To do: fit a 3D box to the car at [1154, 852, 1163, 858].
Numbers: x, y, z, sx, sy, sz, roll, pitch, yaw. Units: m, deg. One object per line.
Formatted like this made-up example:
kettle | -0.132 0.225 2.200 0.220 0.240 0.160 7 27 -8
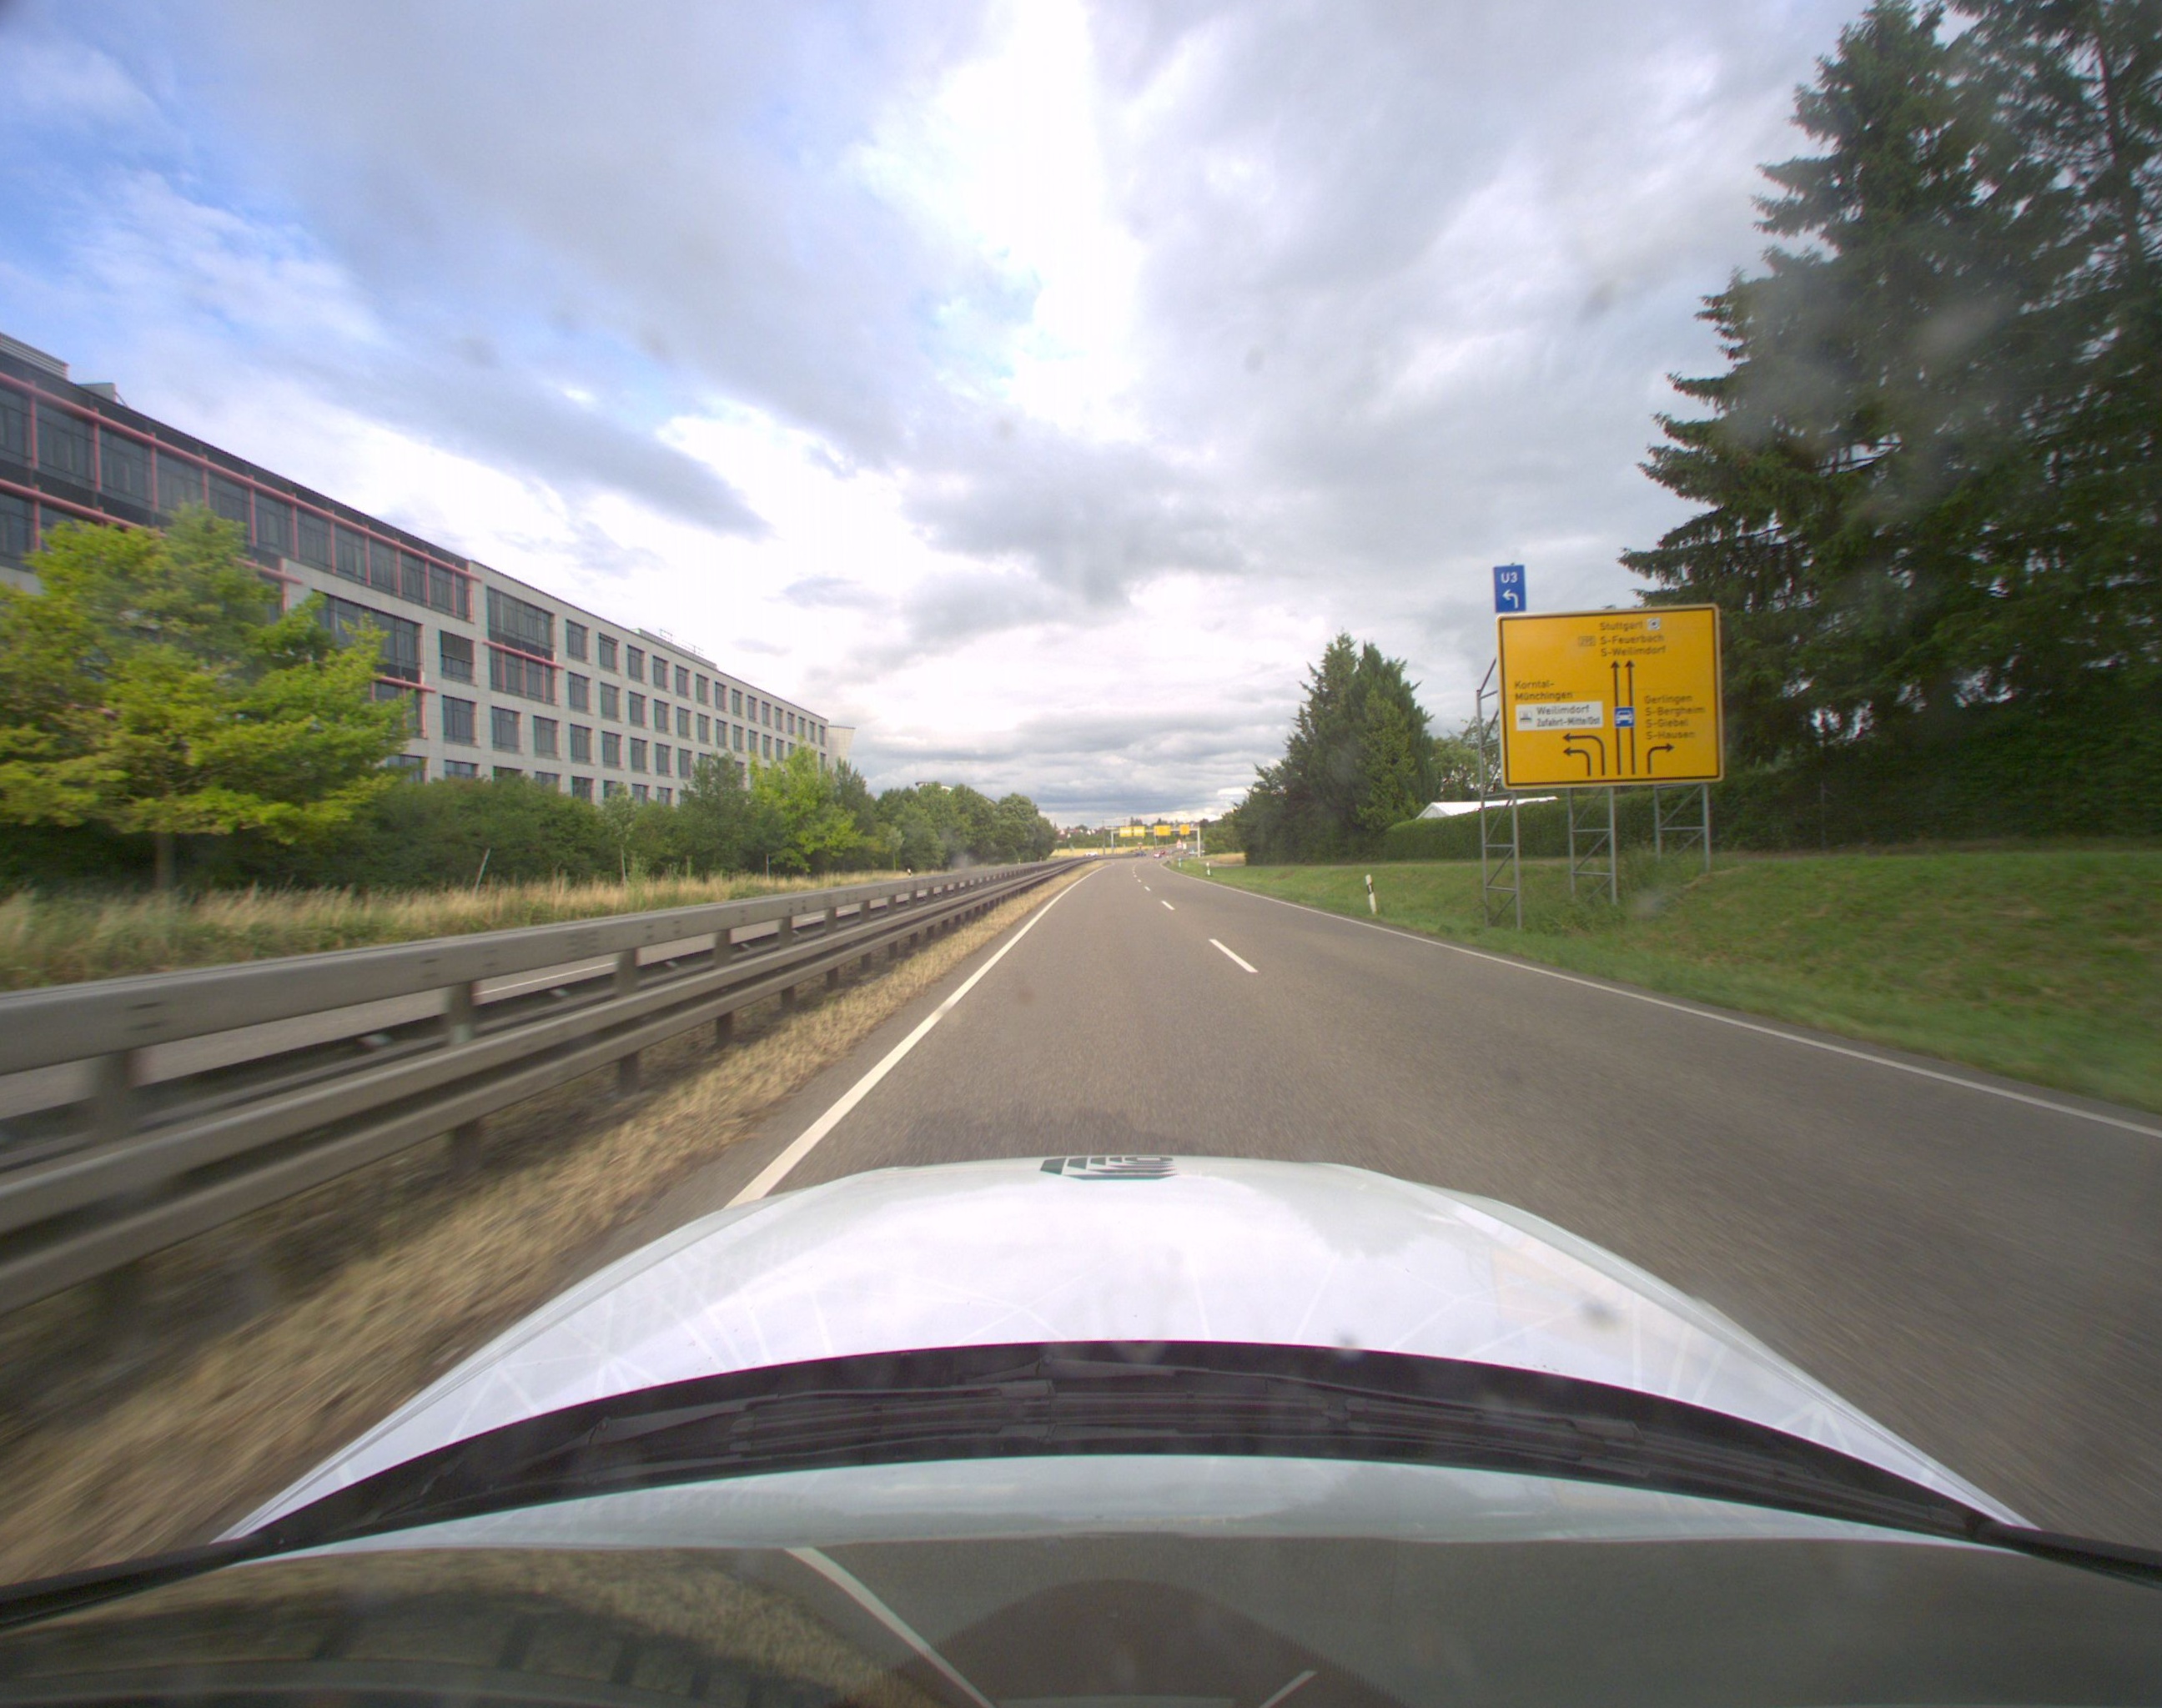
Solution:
car | 22.058 0.207 231.699 1.784 1.556 4.017 -1 0 16
